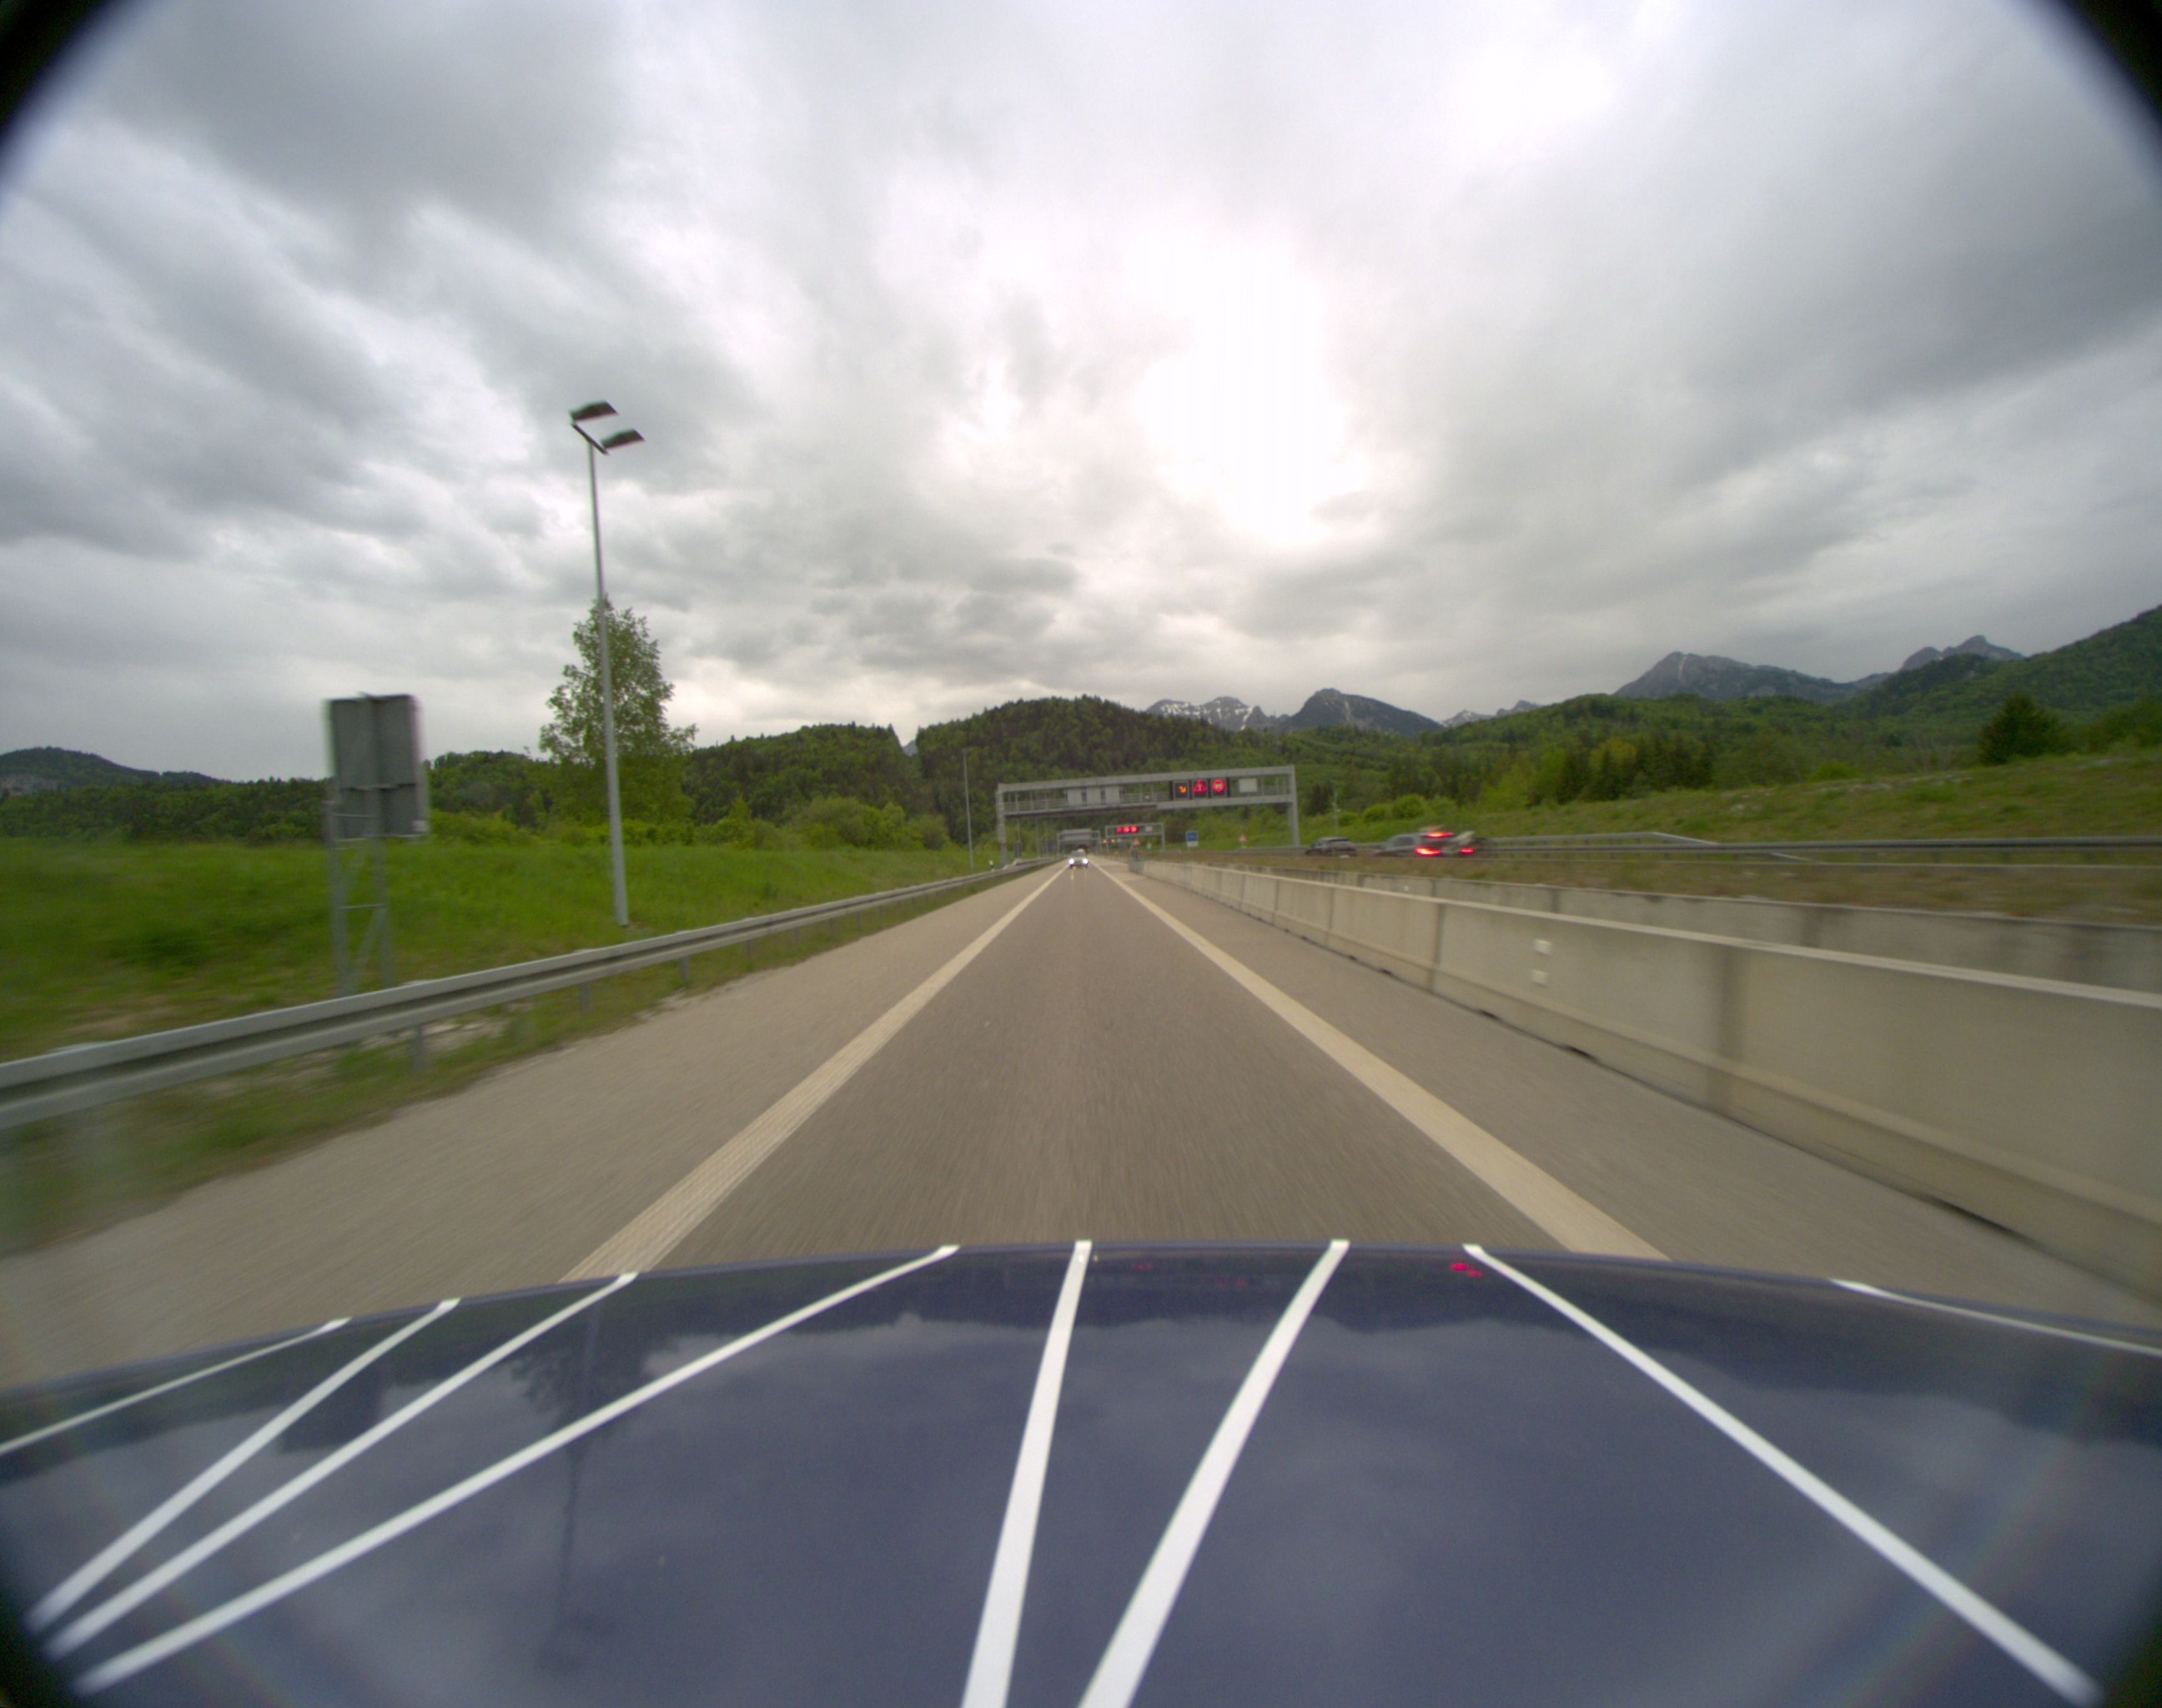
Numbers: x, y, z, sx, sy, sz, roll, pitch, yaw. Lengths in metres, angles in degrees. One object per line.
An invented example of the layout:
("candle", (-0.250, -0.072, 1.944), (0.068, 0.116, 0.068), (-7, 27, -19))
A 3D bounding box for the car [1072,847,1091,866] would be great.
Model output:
("car", (0.051, 0.252, 82.611), (1.923, 1.871, 5.137), (-2, 1, 0))

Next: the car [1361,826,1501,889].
("car", (11.220, 0.081, 24.919), (1.883, 1.726, 5.751), (-3, 0, 0))

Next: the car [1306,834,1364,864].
("car", (14.637, -0.290, 44.031), (1.773, 1.598, 4.405), (-3, 0, 0))
